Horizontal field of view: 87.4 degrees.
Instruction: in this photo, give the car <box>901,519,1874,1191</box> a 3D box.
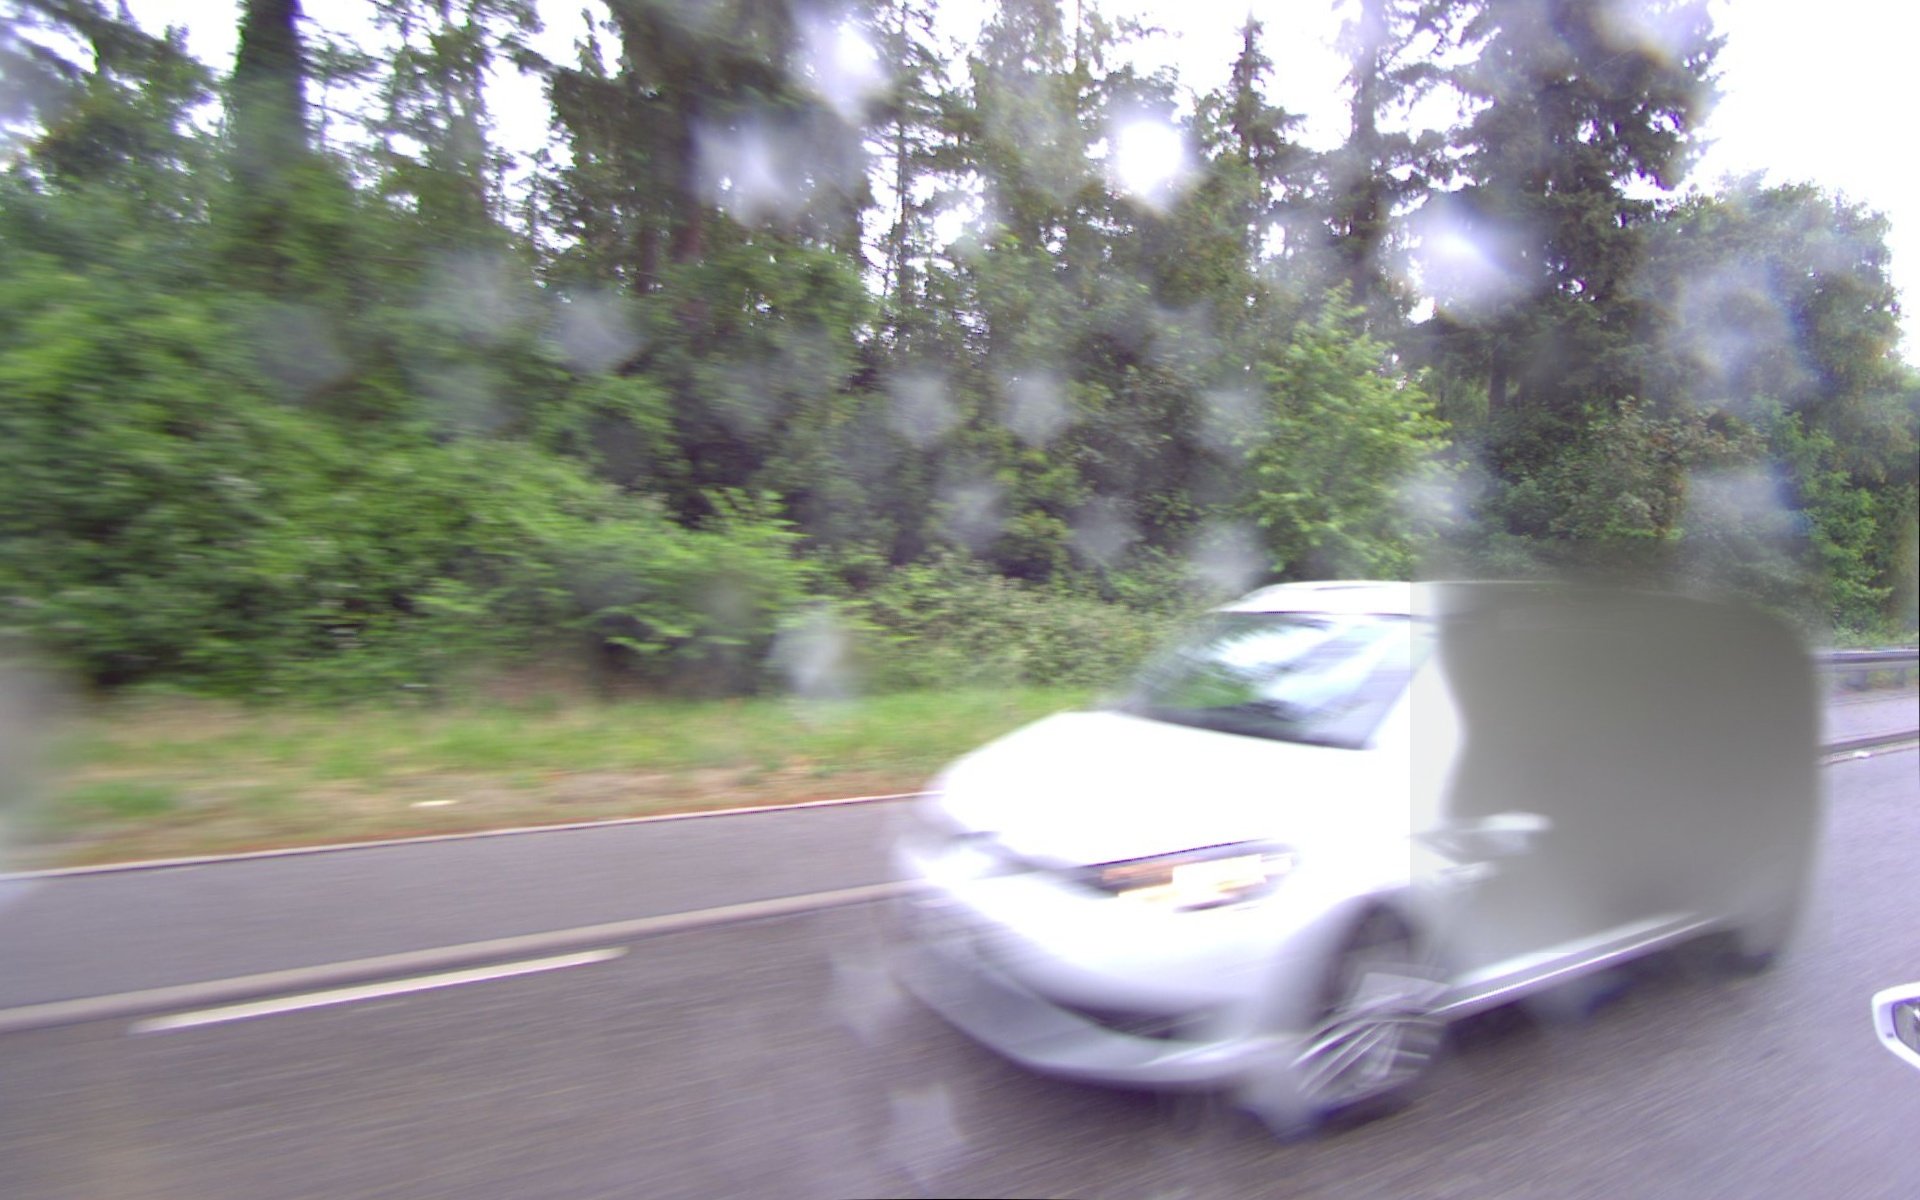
[{"bbox_3d":[1.977,0.692,4.333,4.084,1.669,1.805,2,-1,-31],"label":"car"}]
